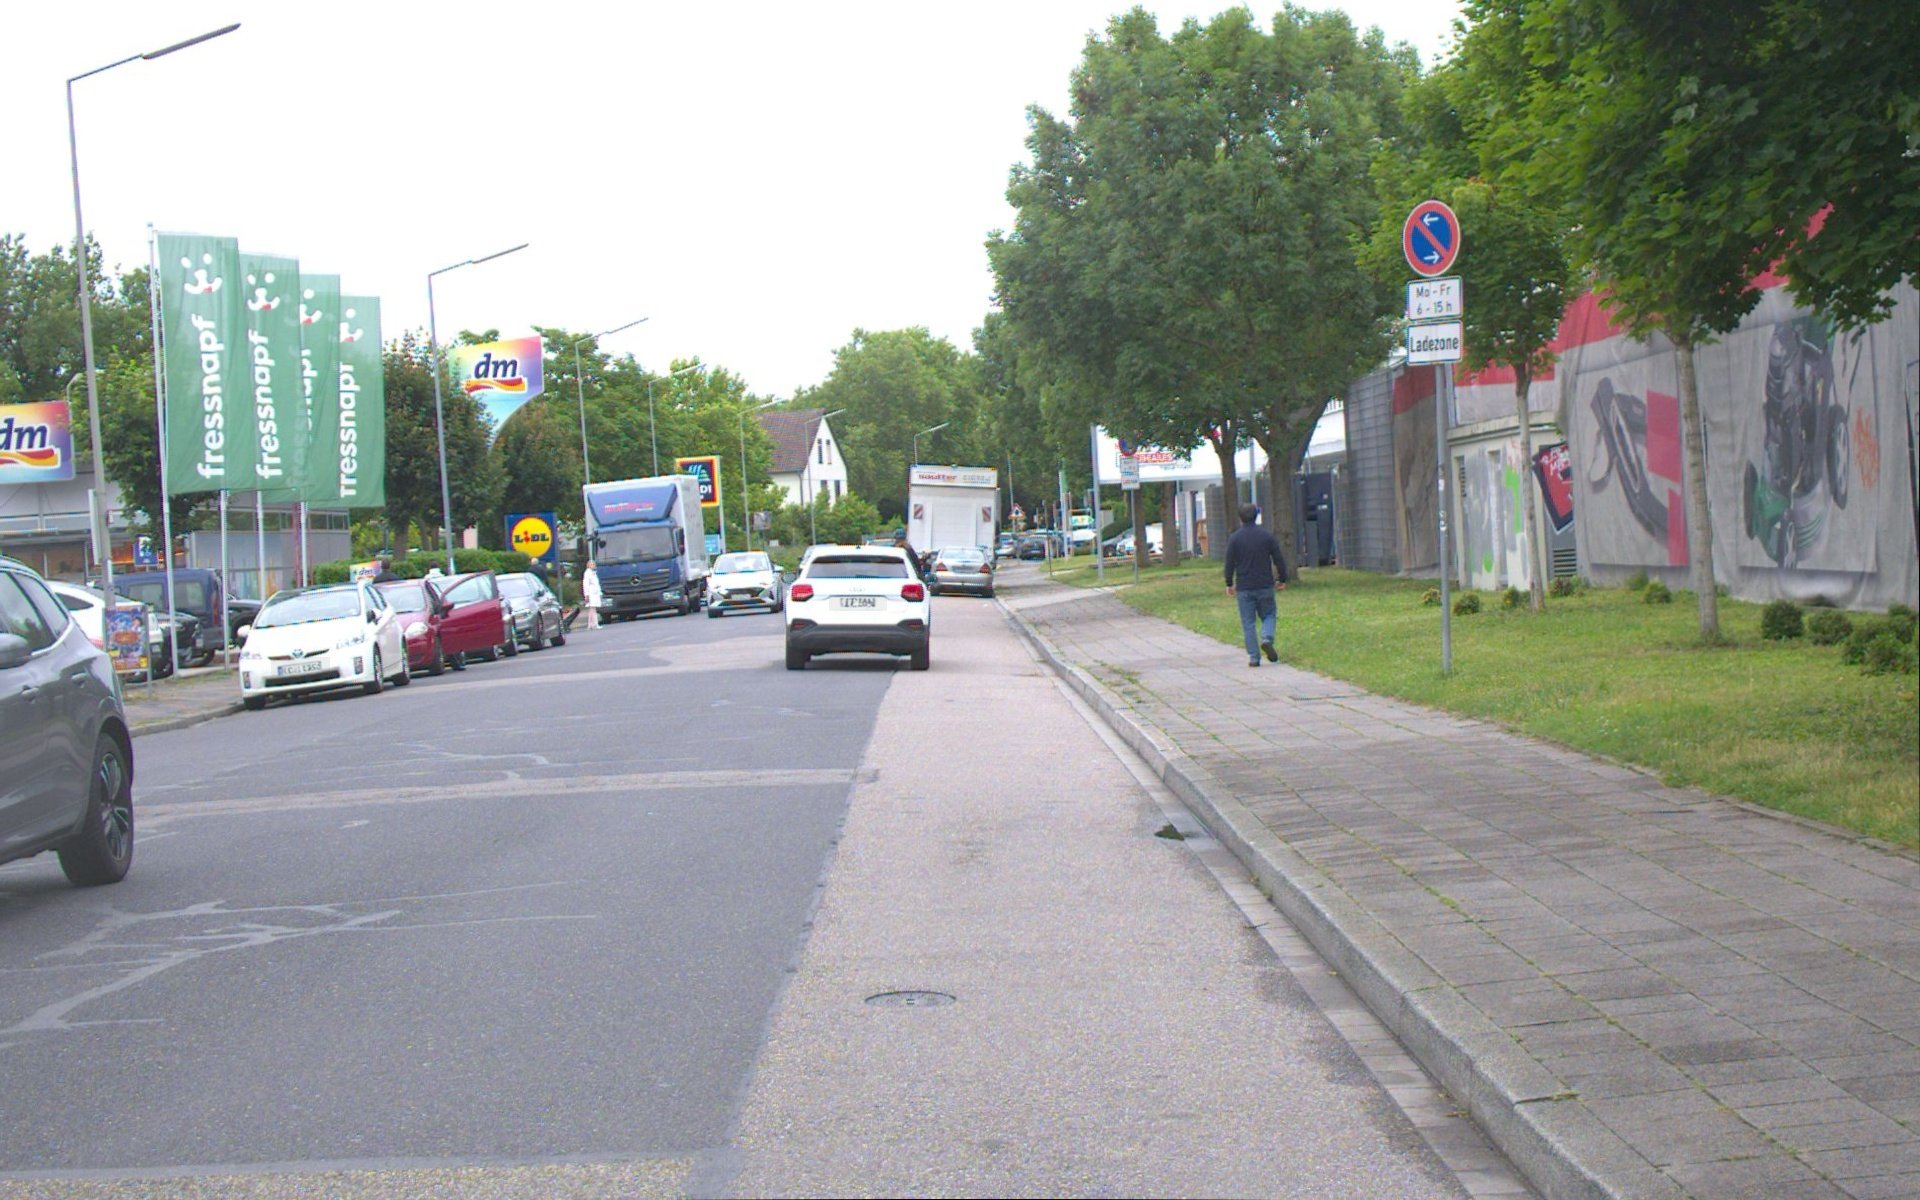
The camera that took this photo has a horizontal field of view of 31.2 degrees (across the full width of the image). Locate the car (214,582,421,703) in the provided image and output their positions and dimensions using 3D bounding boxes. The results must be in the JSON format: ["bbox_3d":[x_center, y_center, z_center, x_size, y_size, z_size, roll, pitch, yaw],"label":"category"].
[{"bbox_3d":[-8.398,0.518,45.264,1.898,1.362,4.000,-3,1,0],"label":"car"}]

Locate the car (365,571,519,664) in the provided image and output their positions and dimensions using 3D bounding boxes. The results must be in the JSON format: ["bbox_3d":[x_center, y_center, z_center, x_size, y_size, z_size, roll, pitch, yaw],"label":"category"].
[{"bbox_3d":[-8.628,0.262,57.540,1.898,1.362,4.000,-3,1,0],"label":"car"}]

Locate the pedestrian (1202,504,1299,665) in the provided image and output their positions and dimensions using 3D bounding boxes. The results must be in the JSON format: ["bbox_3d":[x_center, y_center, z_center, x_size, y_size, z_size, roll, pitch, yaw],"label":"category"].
[{"bbox_3d":[3.014,-0.160,35.704,0.919,1.629,0.852,-2,0,2],"label":"pedestrian"}]

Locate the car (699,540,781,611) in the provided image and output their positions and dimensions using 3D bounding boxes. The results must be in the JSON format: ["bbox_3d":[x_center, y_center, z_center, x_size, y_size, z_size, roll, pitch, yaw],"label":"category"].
[{"bbox_3d":[-5.207,-0.578,81.727,1.599,1.523,3.528,-5,0,1],"label":"car"}]

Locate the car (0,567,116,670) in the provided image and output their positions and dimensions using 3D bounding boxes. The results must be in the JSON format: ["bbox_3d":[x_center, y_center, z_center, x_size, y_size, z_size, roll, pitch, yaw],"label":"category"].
[{"bbox_3d":[-15.170,0.349,52.447,4.135,1.458,1.899,-3,1,-5],"label":"car"}]

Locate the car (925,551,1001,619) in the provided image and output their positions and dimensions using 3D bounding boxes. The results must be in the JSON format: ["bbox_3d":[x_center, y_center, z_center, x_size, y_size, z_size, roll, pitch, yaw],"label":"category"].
[{"bbox_3d":[0.055,-0.429,96.168,1.993,1.800,4.000,-2,0,-1],"label":"car"}]

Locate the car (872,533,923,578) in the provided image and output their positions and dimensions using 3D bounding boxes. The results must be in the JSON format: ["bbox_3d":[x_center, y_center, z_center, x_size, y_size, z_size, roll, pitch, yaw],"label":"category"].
[{"bbox_3d":[-2.505,-1.786,137.262,1.869,1.656,4.000,-4,1,-2],"label":"car"}]

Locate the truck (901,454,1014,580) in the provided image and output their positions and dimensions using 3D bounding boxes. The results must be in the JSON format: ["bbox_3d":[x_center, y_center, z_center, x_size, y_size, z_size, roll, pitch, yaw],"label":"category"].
[{"bbox_3d":[-0.167,-2.456,105.234,3.135,3.572,10.051,-2,0,-1],"label":"truck"}]

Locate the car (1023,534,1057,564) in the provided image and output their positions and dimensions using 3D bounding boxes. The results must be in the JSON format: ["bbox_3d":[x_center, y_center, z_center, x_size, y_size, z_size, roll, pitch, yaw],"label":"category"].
[{"bbox_3d":[4.627,-2.992,200.027,1.886,1.677,4.254,-1,1,1],"label":"car"}]

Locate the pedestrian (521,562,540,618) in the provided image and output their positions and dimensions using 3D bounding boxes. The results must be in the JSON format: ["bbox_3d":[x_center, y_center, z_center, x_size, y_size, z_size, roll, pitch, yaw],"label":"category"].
[{"bbox_3d":[-11.861,-0.268,94.933,0.401,1.526,0.485,-3,1,-6],"label":"pedestrian"}]

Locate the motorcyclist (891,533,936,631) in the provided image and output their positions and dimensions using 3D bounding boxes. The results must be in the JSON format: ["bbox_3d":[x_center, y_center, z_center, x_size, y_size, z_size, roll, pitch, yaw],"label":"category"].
[{"bbox_3d":[-0.761,-0.299,56.050,0.625,1.548,0.604,-3,1,2],"label":"motorcyclist"}]

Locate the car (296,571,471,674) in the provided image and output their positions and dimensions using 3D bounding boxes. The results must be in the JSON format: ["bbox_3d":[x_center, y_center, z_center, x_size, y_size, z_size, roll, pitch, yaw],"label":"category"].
[{"bbox_3d":[-8.648,0.304,51.903,1.898,1.362,4.000,-3,1,0],"label":"car"}]

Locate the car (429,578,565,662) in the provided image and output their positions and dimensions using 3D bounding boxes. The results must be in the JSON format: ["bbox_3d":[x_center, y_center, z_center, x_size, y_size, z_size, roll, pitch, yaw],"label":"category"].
[{"bbox_3d":[-8.483,0.343,63.313,1.898,1.362,4.000,-3,1,0],"label":"car"}]

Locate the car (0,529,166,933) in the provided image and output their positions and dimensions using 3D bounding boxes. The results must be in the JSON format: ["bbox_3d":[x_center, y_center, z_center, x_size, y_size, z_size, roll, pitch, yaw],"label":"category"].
[{"bbox_3d":[-5.002,0.602,14.957,1.933,1.678,4.495,-4,1,0],"label":"car"}]

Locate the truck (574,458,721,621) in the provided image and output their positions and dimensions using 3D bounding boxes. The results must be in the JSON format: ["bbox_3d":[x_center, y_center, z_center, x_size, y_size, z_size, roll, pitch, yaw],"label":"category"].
[{"bbox_3d":[-8.192,-1.611,90.900,2.973,3.942,6.405,-4,1,1],"label":"truck"}]

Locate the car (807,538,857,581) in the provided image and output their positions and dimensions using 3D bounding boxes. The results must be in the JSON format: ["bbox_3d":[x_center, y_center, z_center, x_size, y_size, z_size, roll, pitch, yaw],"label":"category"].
[{"bbox_3d":[-5.293,-1.672,142.740,1.993,1.678,4.000,-2,0,-1],"label":"car"}]

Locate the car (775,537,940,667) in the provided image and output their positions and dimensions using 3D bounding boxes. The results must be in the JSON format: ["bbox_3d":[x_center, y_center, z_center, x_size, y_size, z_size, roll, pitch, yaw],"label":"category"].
[{"bbox_3d":[-1.248,-0.019,43.482,1.886,1.526,4.254,-1,1,1],"label":"car"}]

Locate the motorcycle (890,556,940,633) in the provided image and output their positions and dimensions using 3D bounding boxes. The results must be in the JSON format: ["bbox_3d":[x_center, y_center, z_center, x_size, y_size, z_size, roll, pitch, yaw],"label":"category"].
[{"bbox_3d":[-0.722,-0.099,55.643,0.641,1.174,2.113,-3,1,2],"label":"motorcycle"}]
